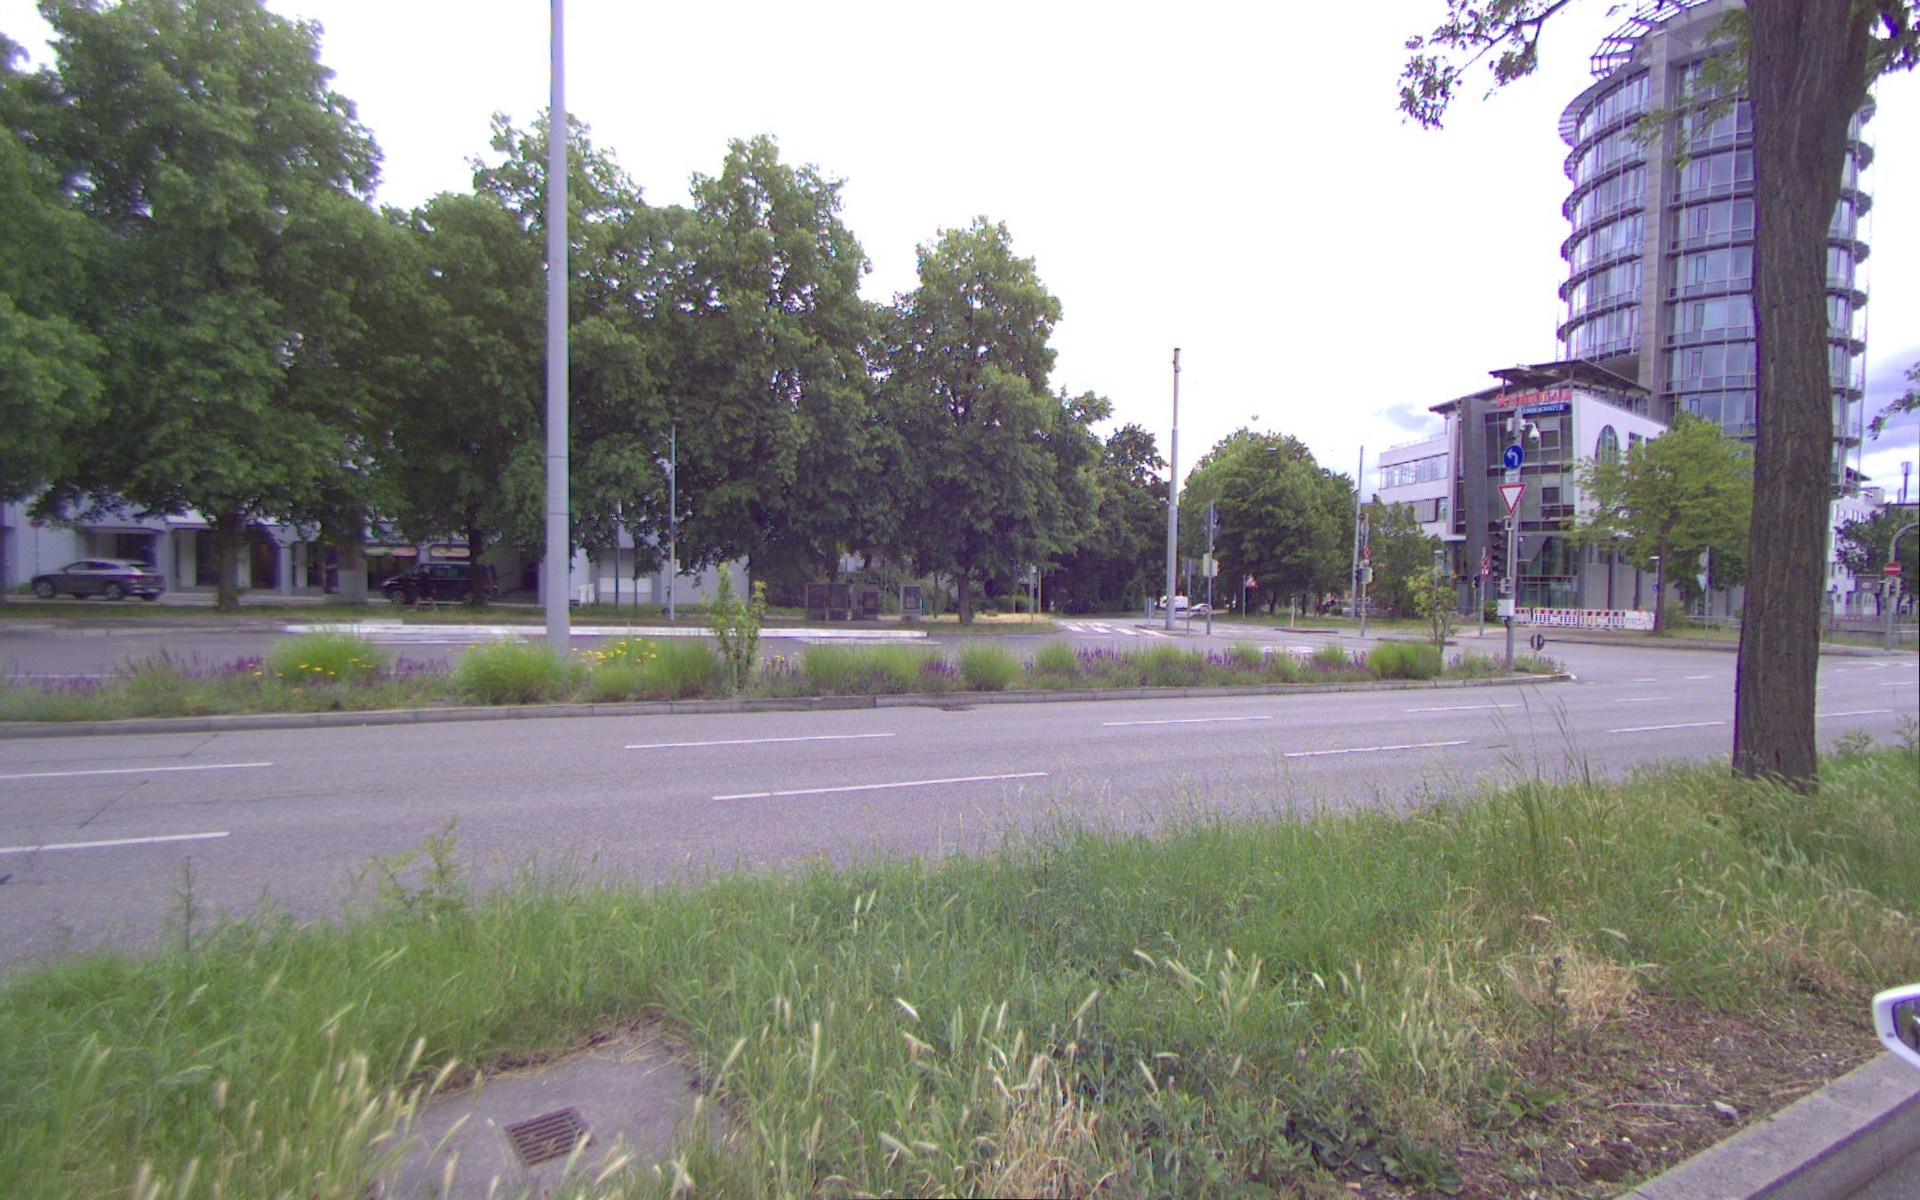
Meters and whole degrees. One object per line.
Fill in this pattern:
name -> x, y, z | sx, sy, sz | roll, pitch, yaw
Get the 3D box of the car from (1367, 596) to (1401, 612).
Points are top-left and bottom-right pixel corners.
car -> 25.045, 0.229, 59.400 | 1.684, 0.888, 0.776 | 1, 0, 7

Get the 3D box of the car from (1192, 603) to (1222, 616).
car -> 42.449, 1.568, 172.518 | 4.475, 2.061, 1.993 | 1, 1, -16

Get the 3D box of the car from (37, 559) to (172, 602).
car -> -33.384, -0.743, 39.234 | 3.919, 1.532, 1.761 | 2, 1, 6

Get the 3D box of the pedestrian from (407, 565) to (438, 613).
pedestrian -> -17.959, -0.363, 33.566 | 0.894, 1.578, 0.766 | 1, 1, -30

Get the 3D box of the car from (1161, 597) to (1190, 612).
car -> 37.729, 0.771, 175.688 | 4.475, 2.370, 1.993 | 1, 1, -16

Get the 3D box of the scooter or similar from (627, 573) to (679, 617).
scooter or similar -> -11.868, -0.190, 38.860 | 1.835, 1.686, 0.645 | 1, 1, -43

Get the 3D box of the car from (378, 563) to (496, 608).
car -> -23.314, -0.645, 44.959 | 4.345, 1.872, 1.781 | 1, 1, -16
